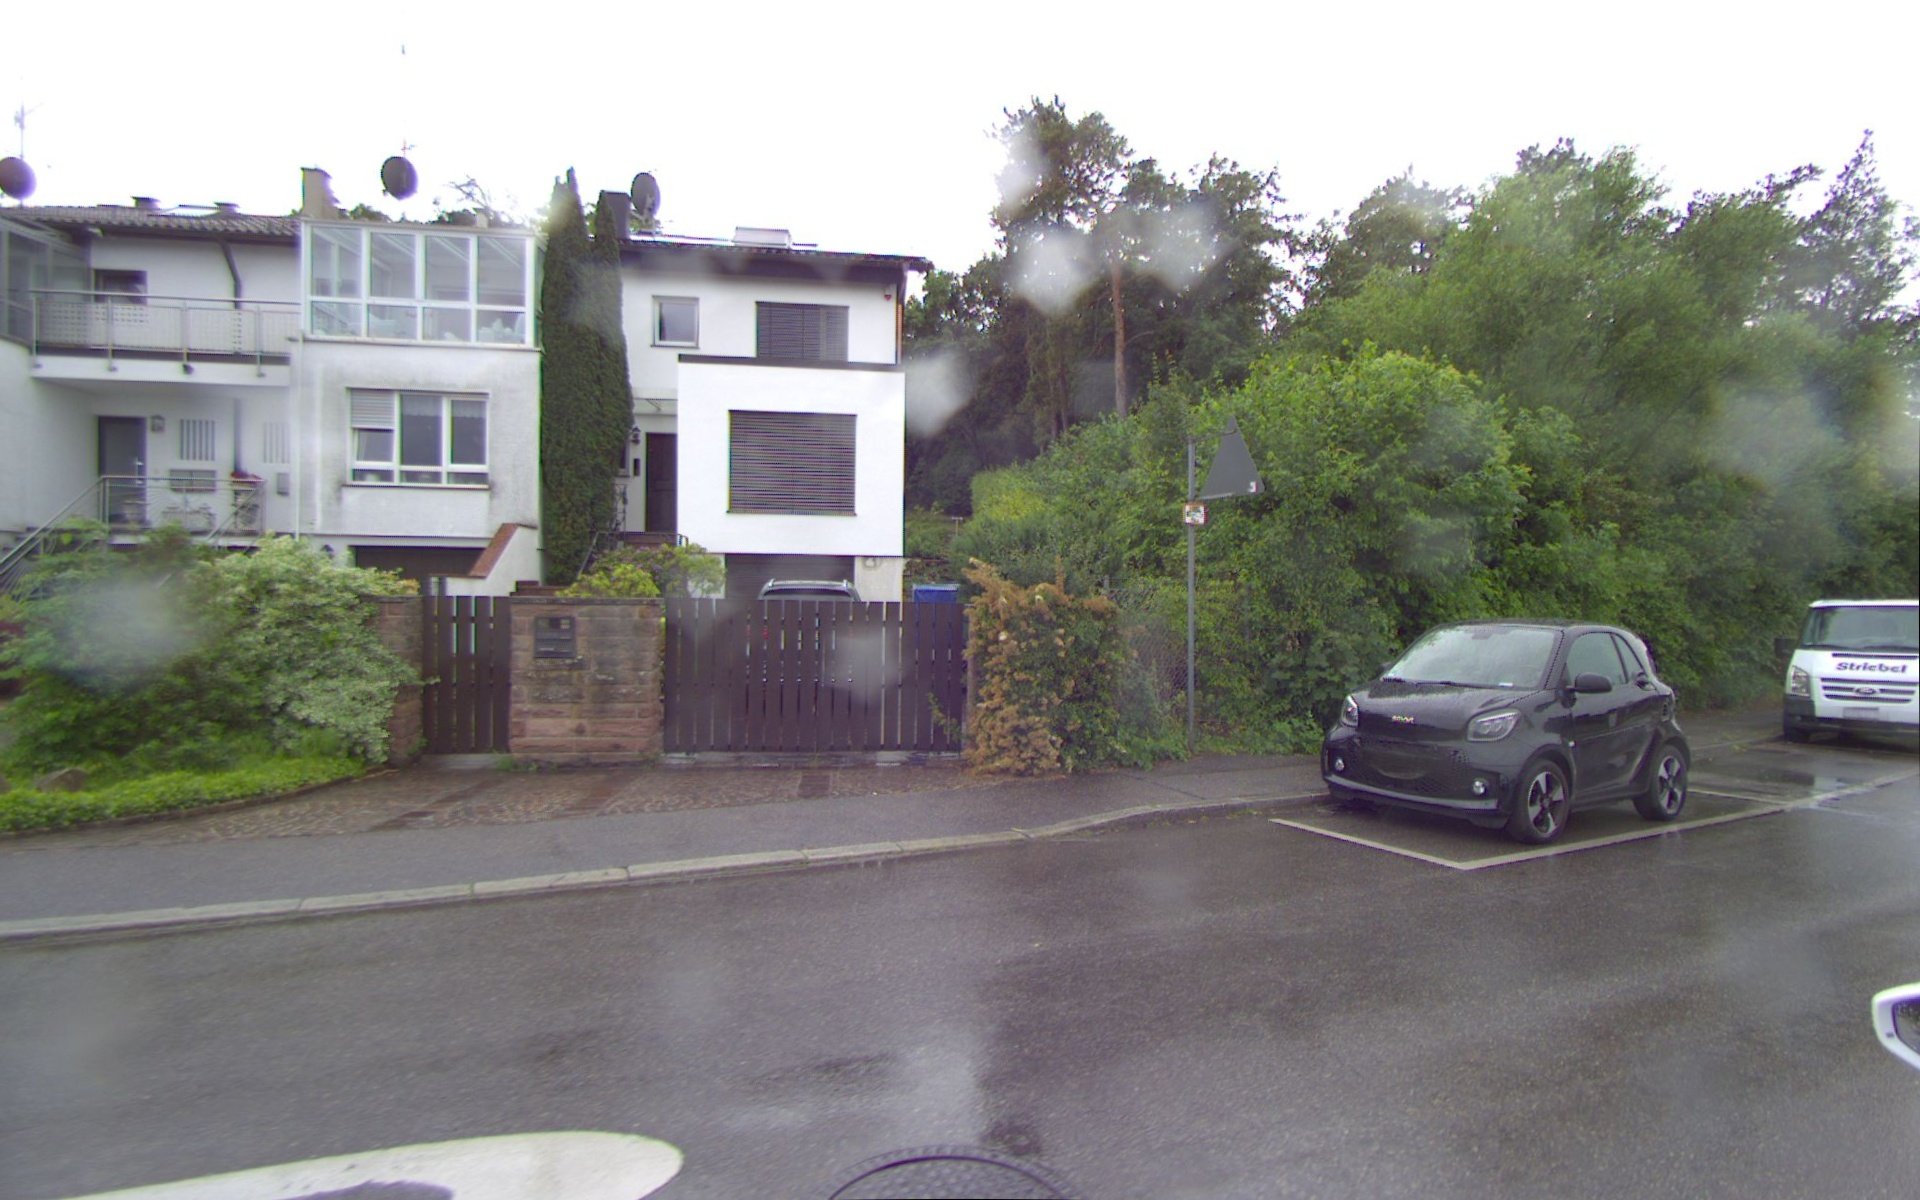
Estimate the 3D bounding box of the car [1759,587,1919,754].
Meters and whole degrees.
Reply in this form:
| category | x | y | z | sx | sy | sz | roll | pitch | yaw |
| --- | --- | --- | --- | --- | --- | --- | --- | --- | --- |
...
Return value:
| category | x | y | z | sx | sy | sz | roll | pitch | yaw |
| --- | --- | --- | --- | --- | --- | --- | --- | --- | --- |
| car | 13.135 | 0.905 | 14.022 | 5.129 | 2.001 | 2.094 | 2 | -1 | -39 |

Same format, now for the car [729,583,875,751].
| category | x | y | z | sx | sy | sz | roll | pitch | yaw |
| --- | --- | --- | --- | --- | --- | --- | --- | --- | --- |
| car | -2.033 | 0.773 | 13.729 | 1.707 | 1.975 | 3.681 | 0 | 1 | -5 |

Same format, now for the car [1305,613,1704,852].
| category | x | y | z | sx | sy | sz | roll | pitch | yaw |
| --- | --- | --- | --- | --- | --- | --- | --- | --- | --- |
| car | 4.332 | 0.899 | 7.945 | 2.911 | 1.531 | 1.593 | 2 | -1 | -33 |
